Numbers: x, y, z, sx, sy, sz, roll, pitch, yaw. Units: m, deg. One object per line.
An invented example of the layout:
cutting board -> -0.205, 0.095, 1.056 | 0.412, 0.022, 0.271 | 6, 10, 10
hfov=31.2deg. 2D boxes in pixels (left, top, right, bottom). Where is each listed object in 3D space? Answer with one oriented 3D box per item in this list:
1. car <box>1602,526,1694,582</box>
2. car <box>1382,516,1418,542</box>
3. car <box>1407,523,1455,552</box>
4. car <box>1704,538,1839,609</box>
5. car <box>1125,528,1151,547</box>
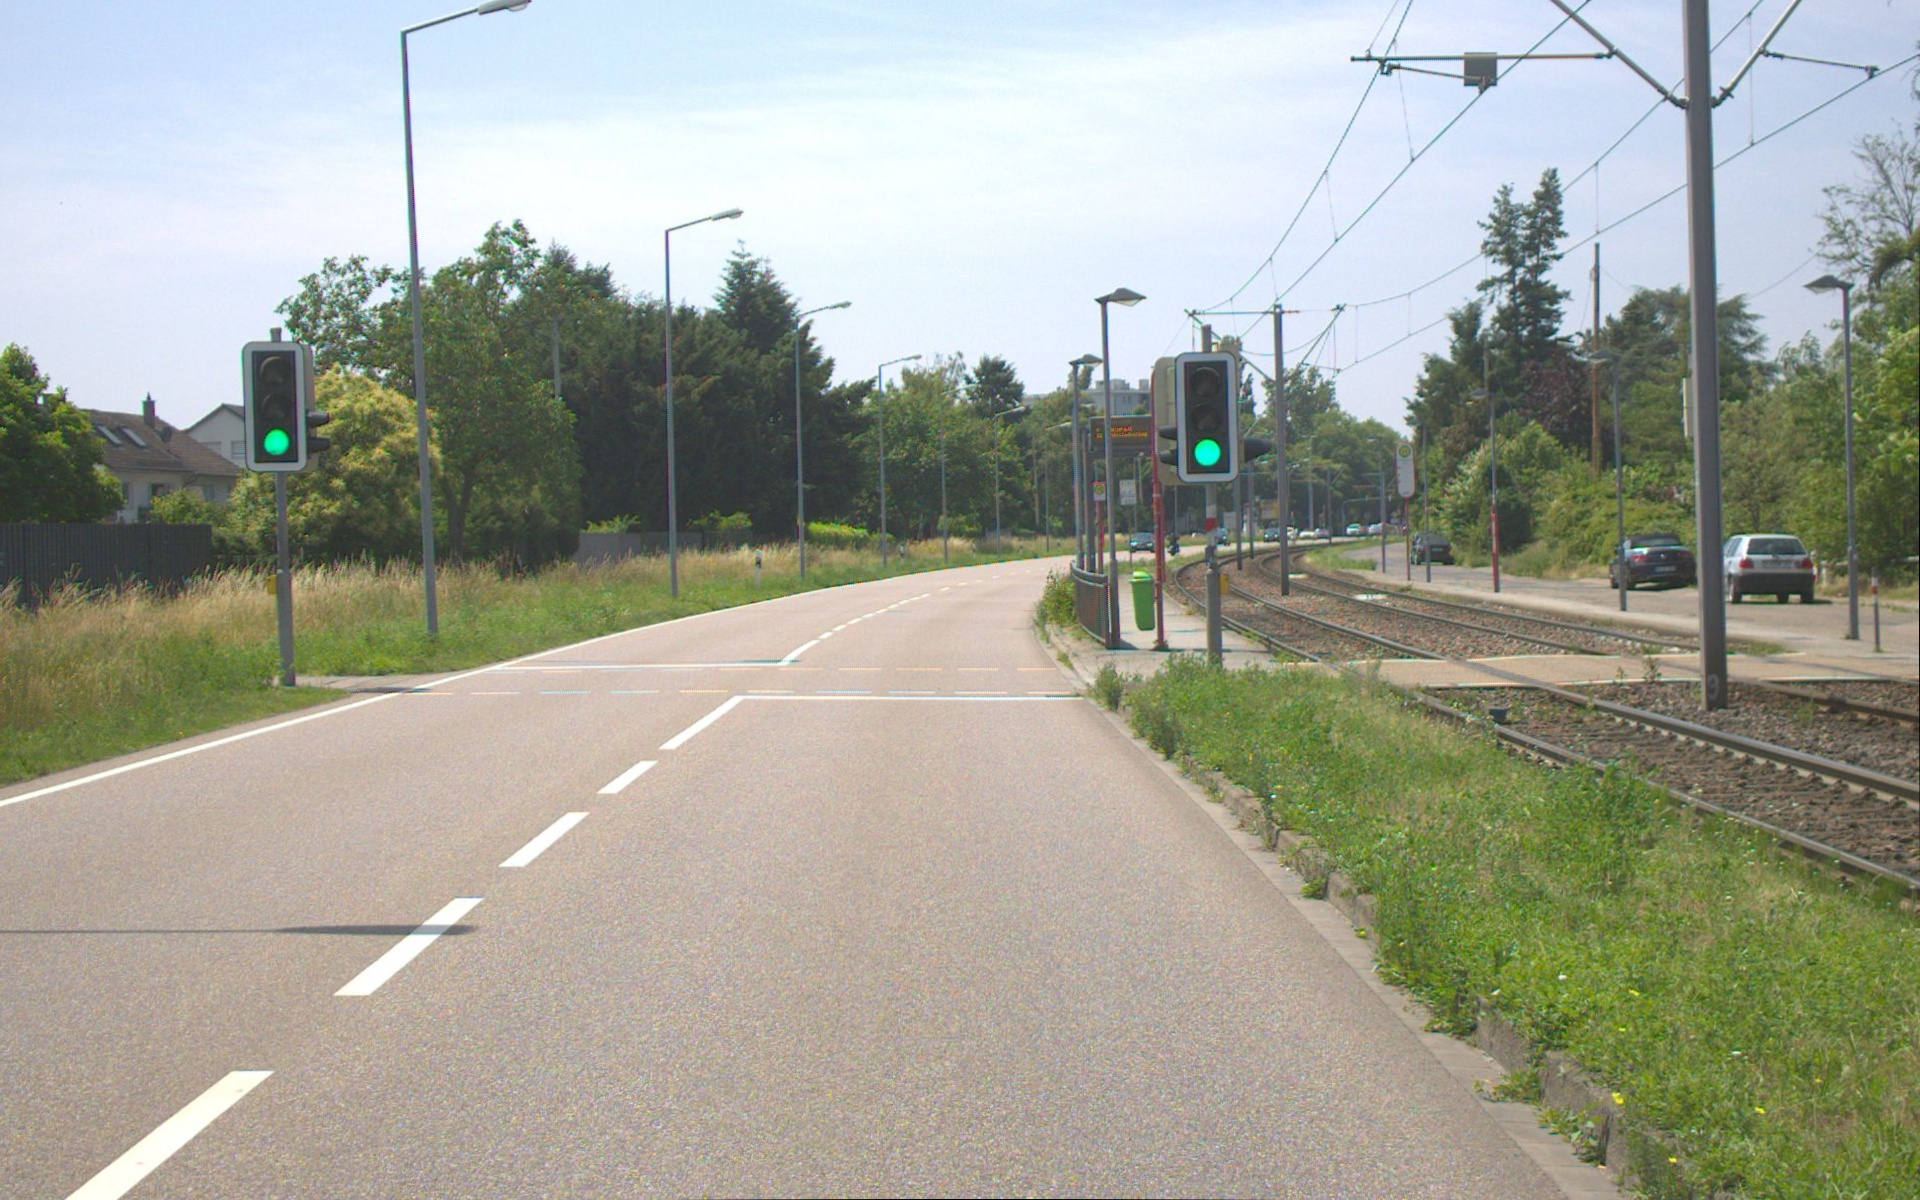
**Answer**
car -> 17.848, -1.205, 89.374 | 1.620, 1.417, 4.873 | 0, 1, 3
car -> 24.615, -3.961, 192.260 | 1.914, 1.465, 3.999 | 0, 1, 6
car -> 21.724, -2.876, 158.791 | 1.861, 1.325, 4.515 | 0, 1, 4
car -> 16.552, -0.559, 70.300 | 1.939, 1.417, 4.000 | 0, 1, 2
car -> 13.093, -4.583, 252.678 | 1.706, 1.399, 4.707 | 0, 1, 5
